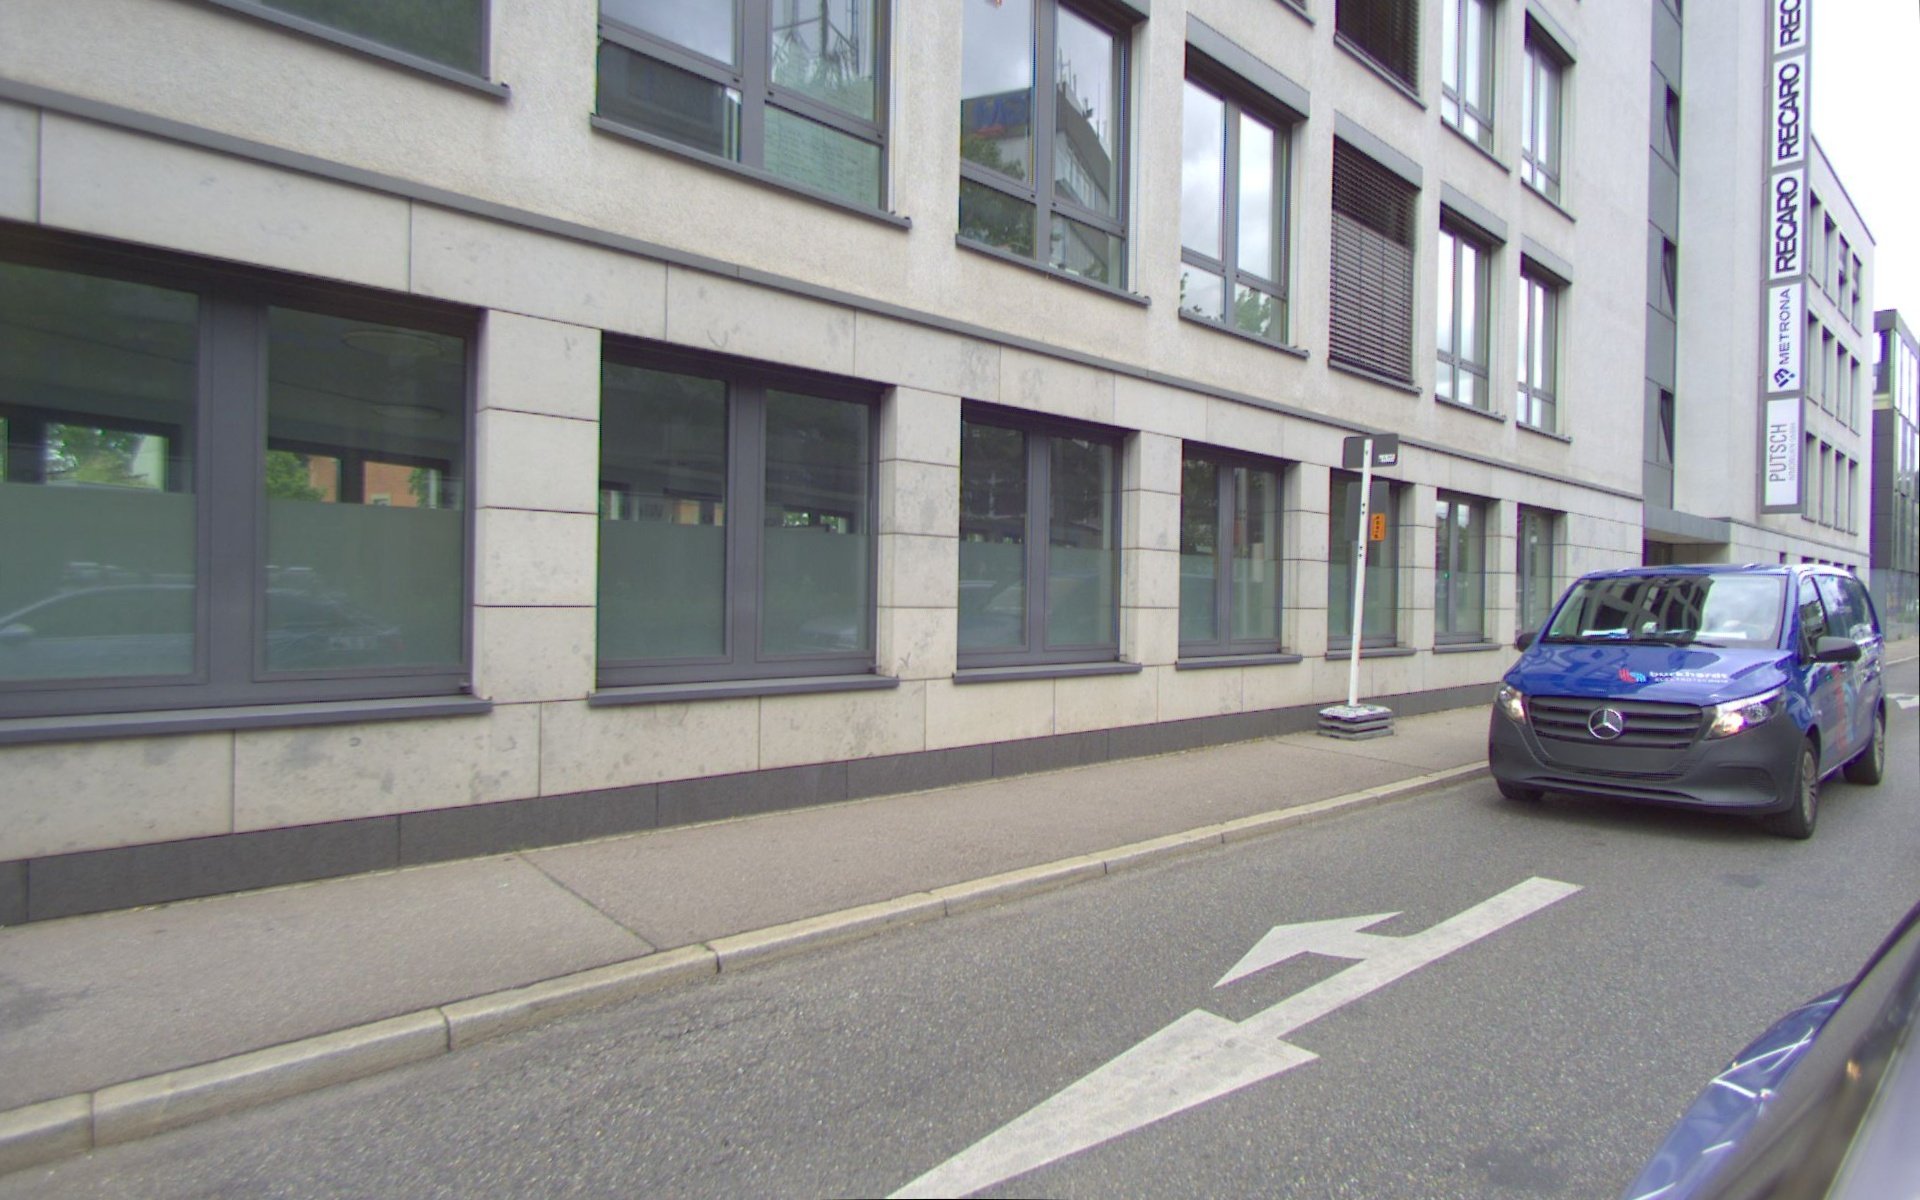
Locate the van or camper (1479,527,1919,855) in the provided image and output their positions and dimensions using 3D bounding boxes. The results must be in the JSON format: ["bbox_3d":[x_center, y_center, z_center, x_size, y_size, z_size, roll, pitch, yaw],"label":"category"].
[{"bbox_3d":[6.268,0.514,8.293,4.944,1.935,1.863,0,1,-41],"label":"van or camper"}]
